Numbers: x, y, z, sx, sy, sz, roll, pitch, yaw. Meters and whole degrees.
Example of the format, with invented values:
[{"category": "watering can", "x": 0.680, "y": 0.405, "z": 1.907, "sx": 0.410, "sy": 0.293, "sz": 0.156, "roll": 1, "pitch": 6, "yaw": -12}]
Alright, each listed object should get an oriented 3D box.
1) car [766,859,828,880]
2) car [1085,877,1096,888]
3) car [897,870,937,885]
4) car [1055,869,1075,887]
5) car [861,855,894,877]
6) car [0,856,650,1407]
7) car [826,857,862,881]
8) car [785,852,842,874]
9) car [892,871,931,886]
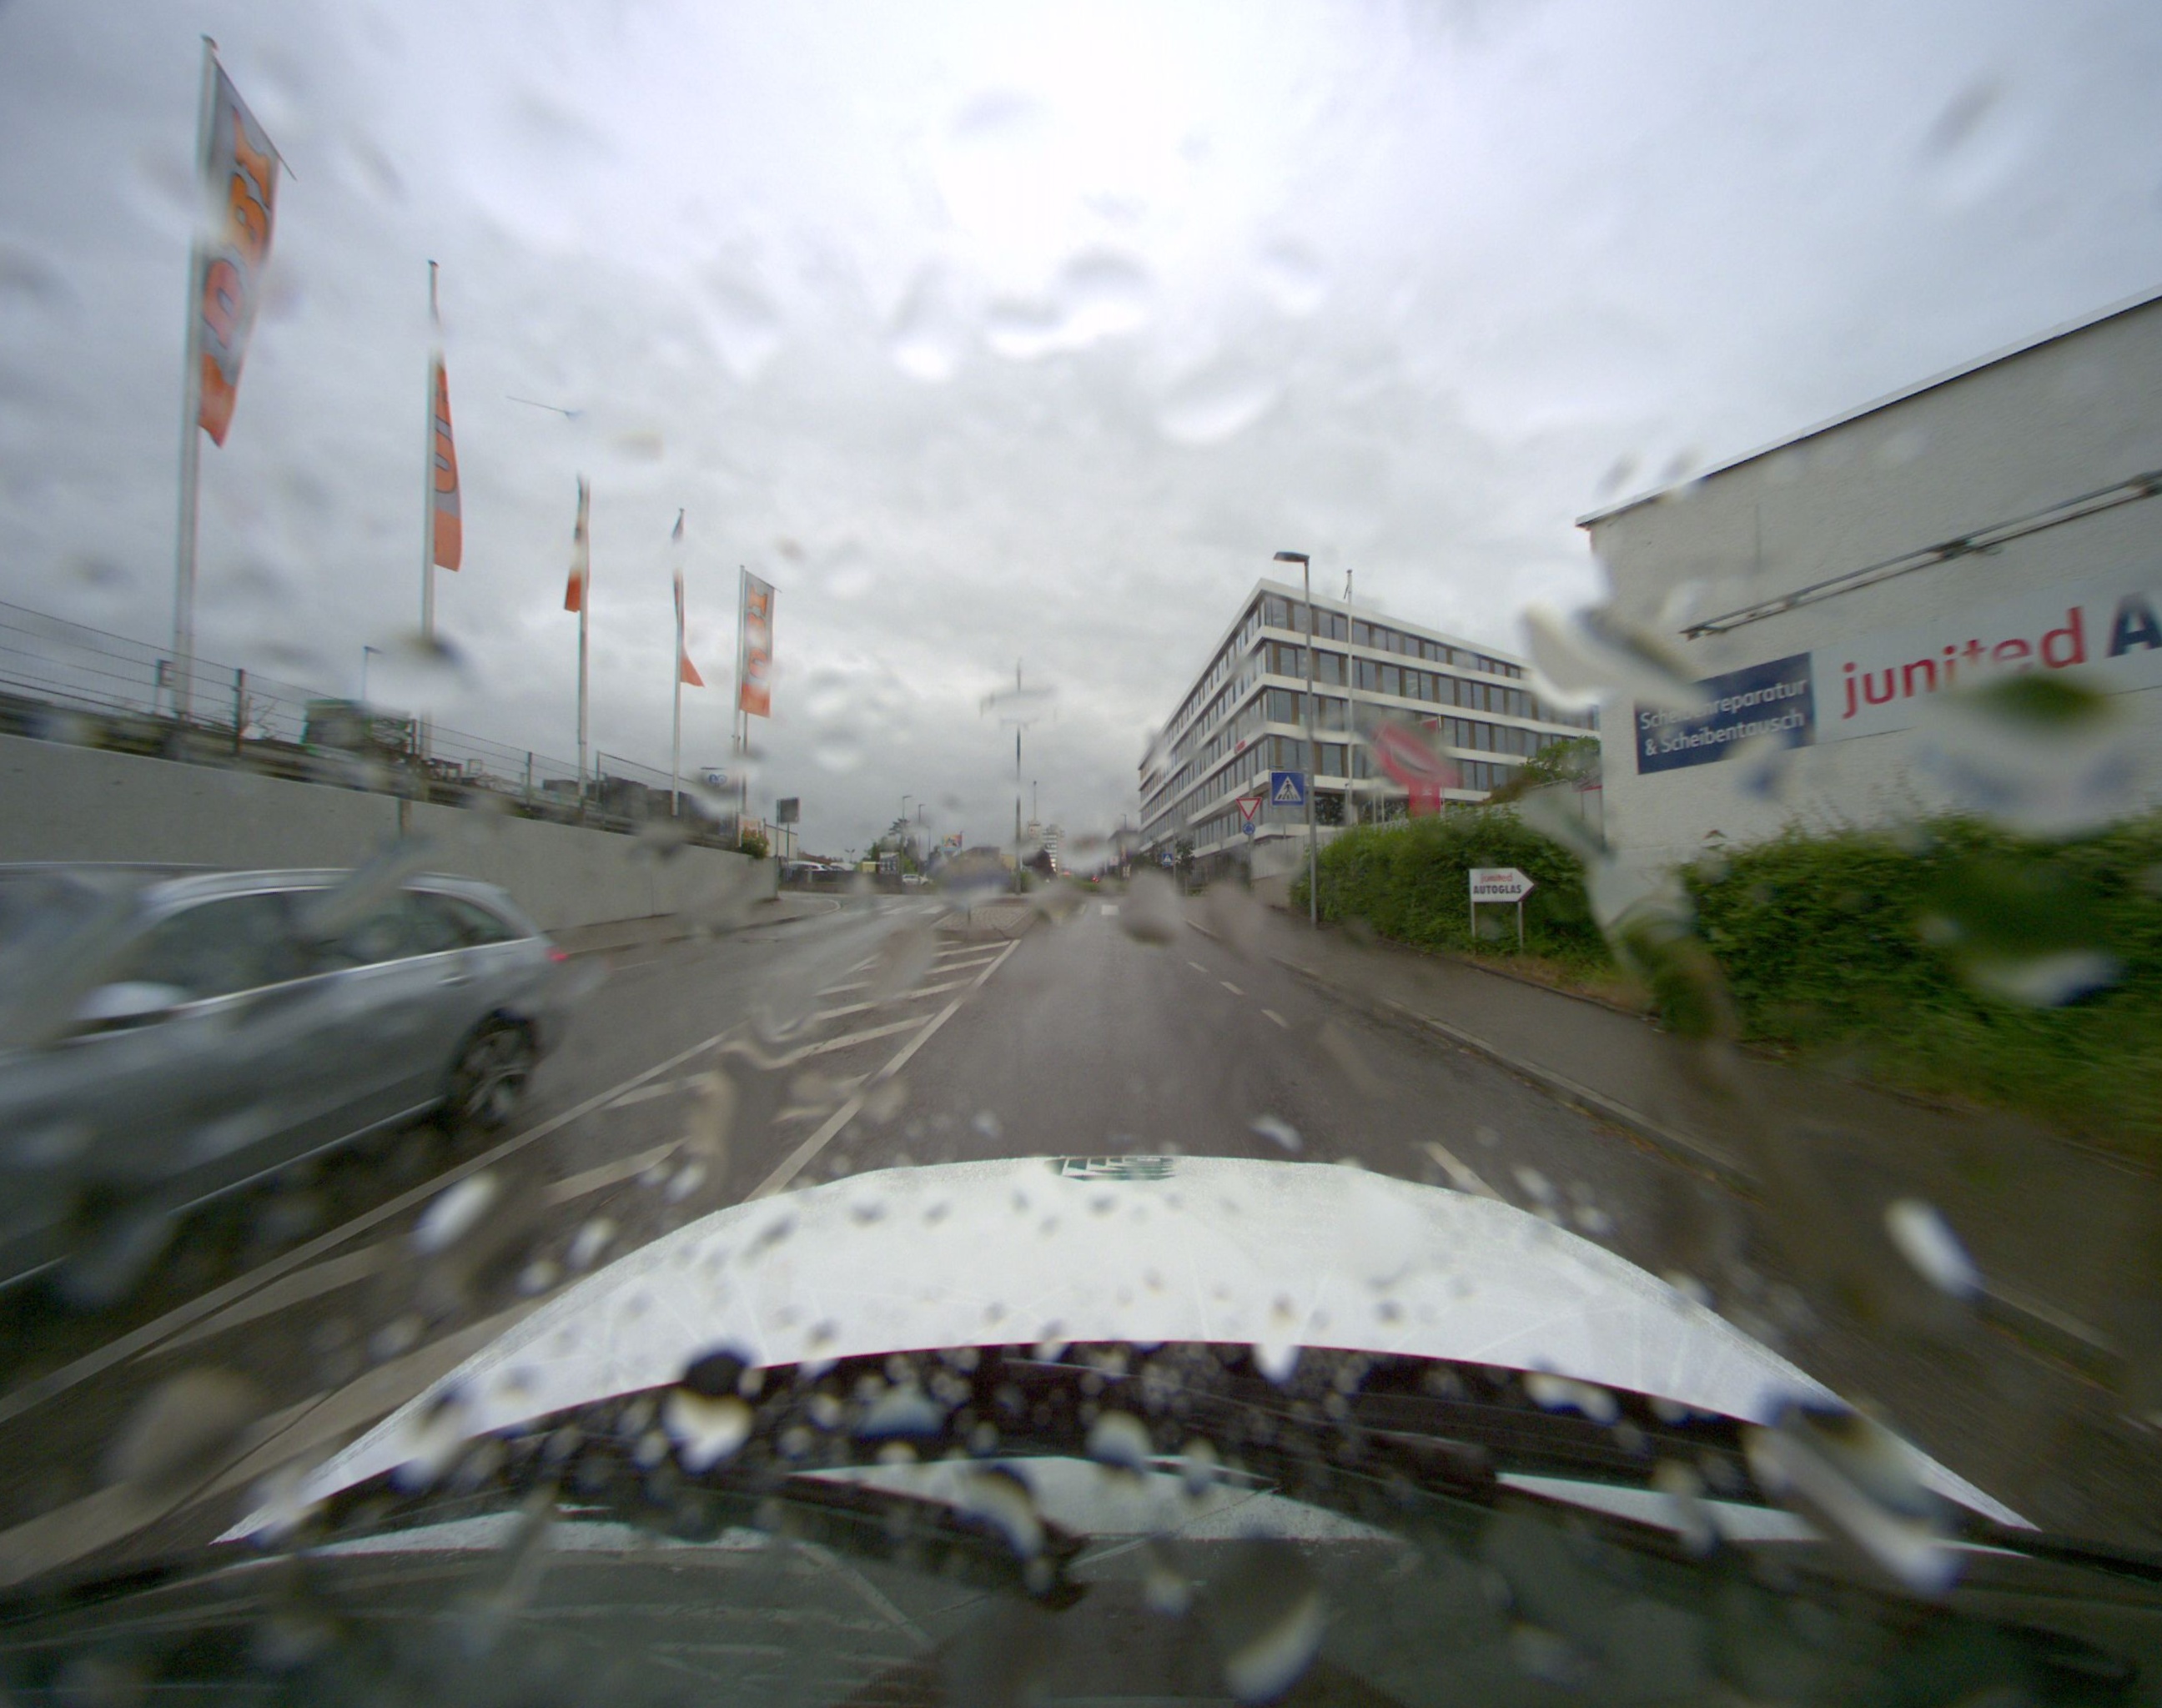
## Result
[{"category": "car", "x": -19.269, "y": 1.090, "z": 55.408, "sx": 3.522, "sy": 1.286, "sz": 1.997, "roll": 1, "pitch": -3, "yaw": -4}, {"category": "car", "x": 1.867, "y": 5.755, "z": 165.477, "sx": 1.985, "sy": 2.013, "sz": 5.003, "roll": 1, "pitch": 0, "yaw": 2}, {"category": "car", "x": -18.110, "y": 2.602, "z": 89.905, "sx": 4.013, "sy": 1.420, "sz": 1.766, "roll": 1, "pitch": -3, "yaw": -4}, {"category": "car", "x": -1.743, "y": 2.708, "z": 92.477, "sx": 1.985, "sy": 1.904, "sz": 4.001, "roll": 1, "pitch": -3, "yaw": 2}, {"category": "car", "x": -19.124, "y": 1.121, "z": 76.655, "sx": 1.989, "sy": 2.013, "sz": 4.995, "roll": 1, "pitch": 0, "yaw": -3}, {"category": "car", "x": -3.973, "y": 0.768, "z": 3.321, "sx": 1.996, "sy": 1.426, "sz": 4.777, "roll": 1, "pitch": 0, "yaw": -2}, {"category": "car", "x": -21.251, "y": 1.308, "z": 73.106, "sx": 1.989, "sy": 2.013, "sz": 4.993, "roll": 1, "pitch": 0, "yaw": -4}, {"category": "car", "x": -18.952, "y": 0.678, "z": 57.698, "sx": 3.522, "sy": 1.420, "sz": 1.427, "roll": 1, "pitch": -4, "yaw": -4}, {"category": "car", "x": -18.188, "y": 2.623, "z": 87.431, "sx": 4.029, "sy": 1.420, "sz": 1.759, "roll": 2, "pitch": -4, "yaw": -16}]
